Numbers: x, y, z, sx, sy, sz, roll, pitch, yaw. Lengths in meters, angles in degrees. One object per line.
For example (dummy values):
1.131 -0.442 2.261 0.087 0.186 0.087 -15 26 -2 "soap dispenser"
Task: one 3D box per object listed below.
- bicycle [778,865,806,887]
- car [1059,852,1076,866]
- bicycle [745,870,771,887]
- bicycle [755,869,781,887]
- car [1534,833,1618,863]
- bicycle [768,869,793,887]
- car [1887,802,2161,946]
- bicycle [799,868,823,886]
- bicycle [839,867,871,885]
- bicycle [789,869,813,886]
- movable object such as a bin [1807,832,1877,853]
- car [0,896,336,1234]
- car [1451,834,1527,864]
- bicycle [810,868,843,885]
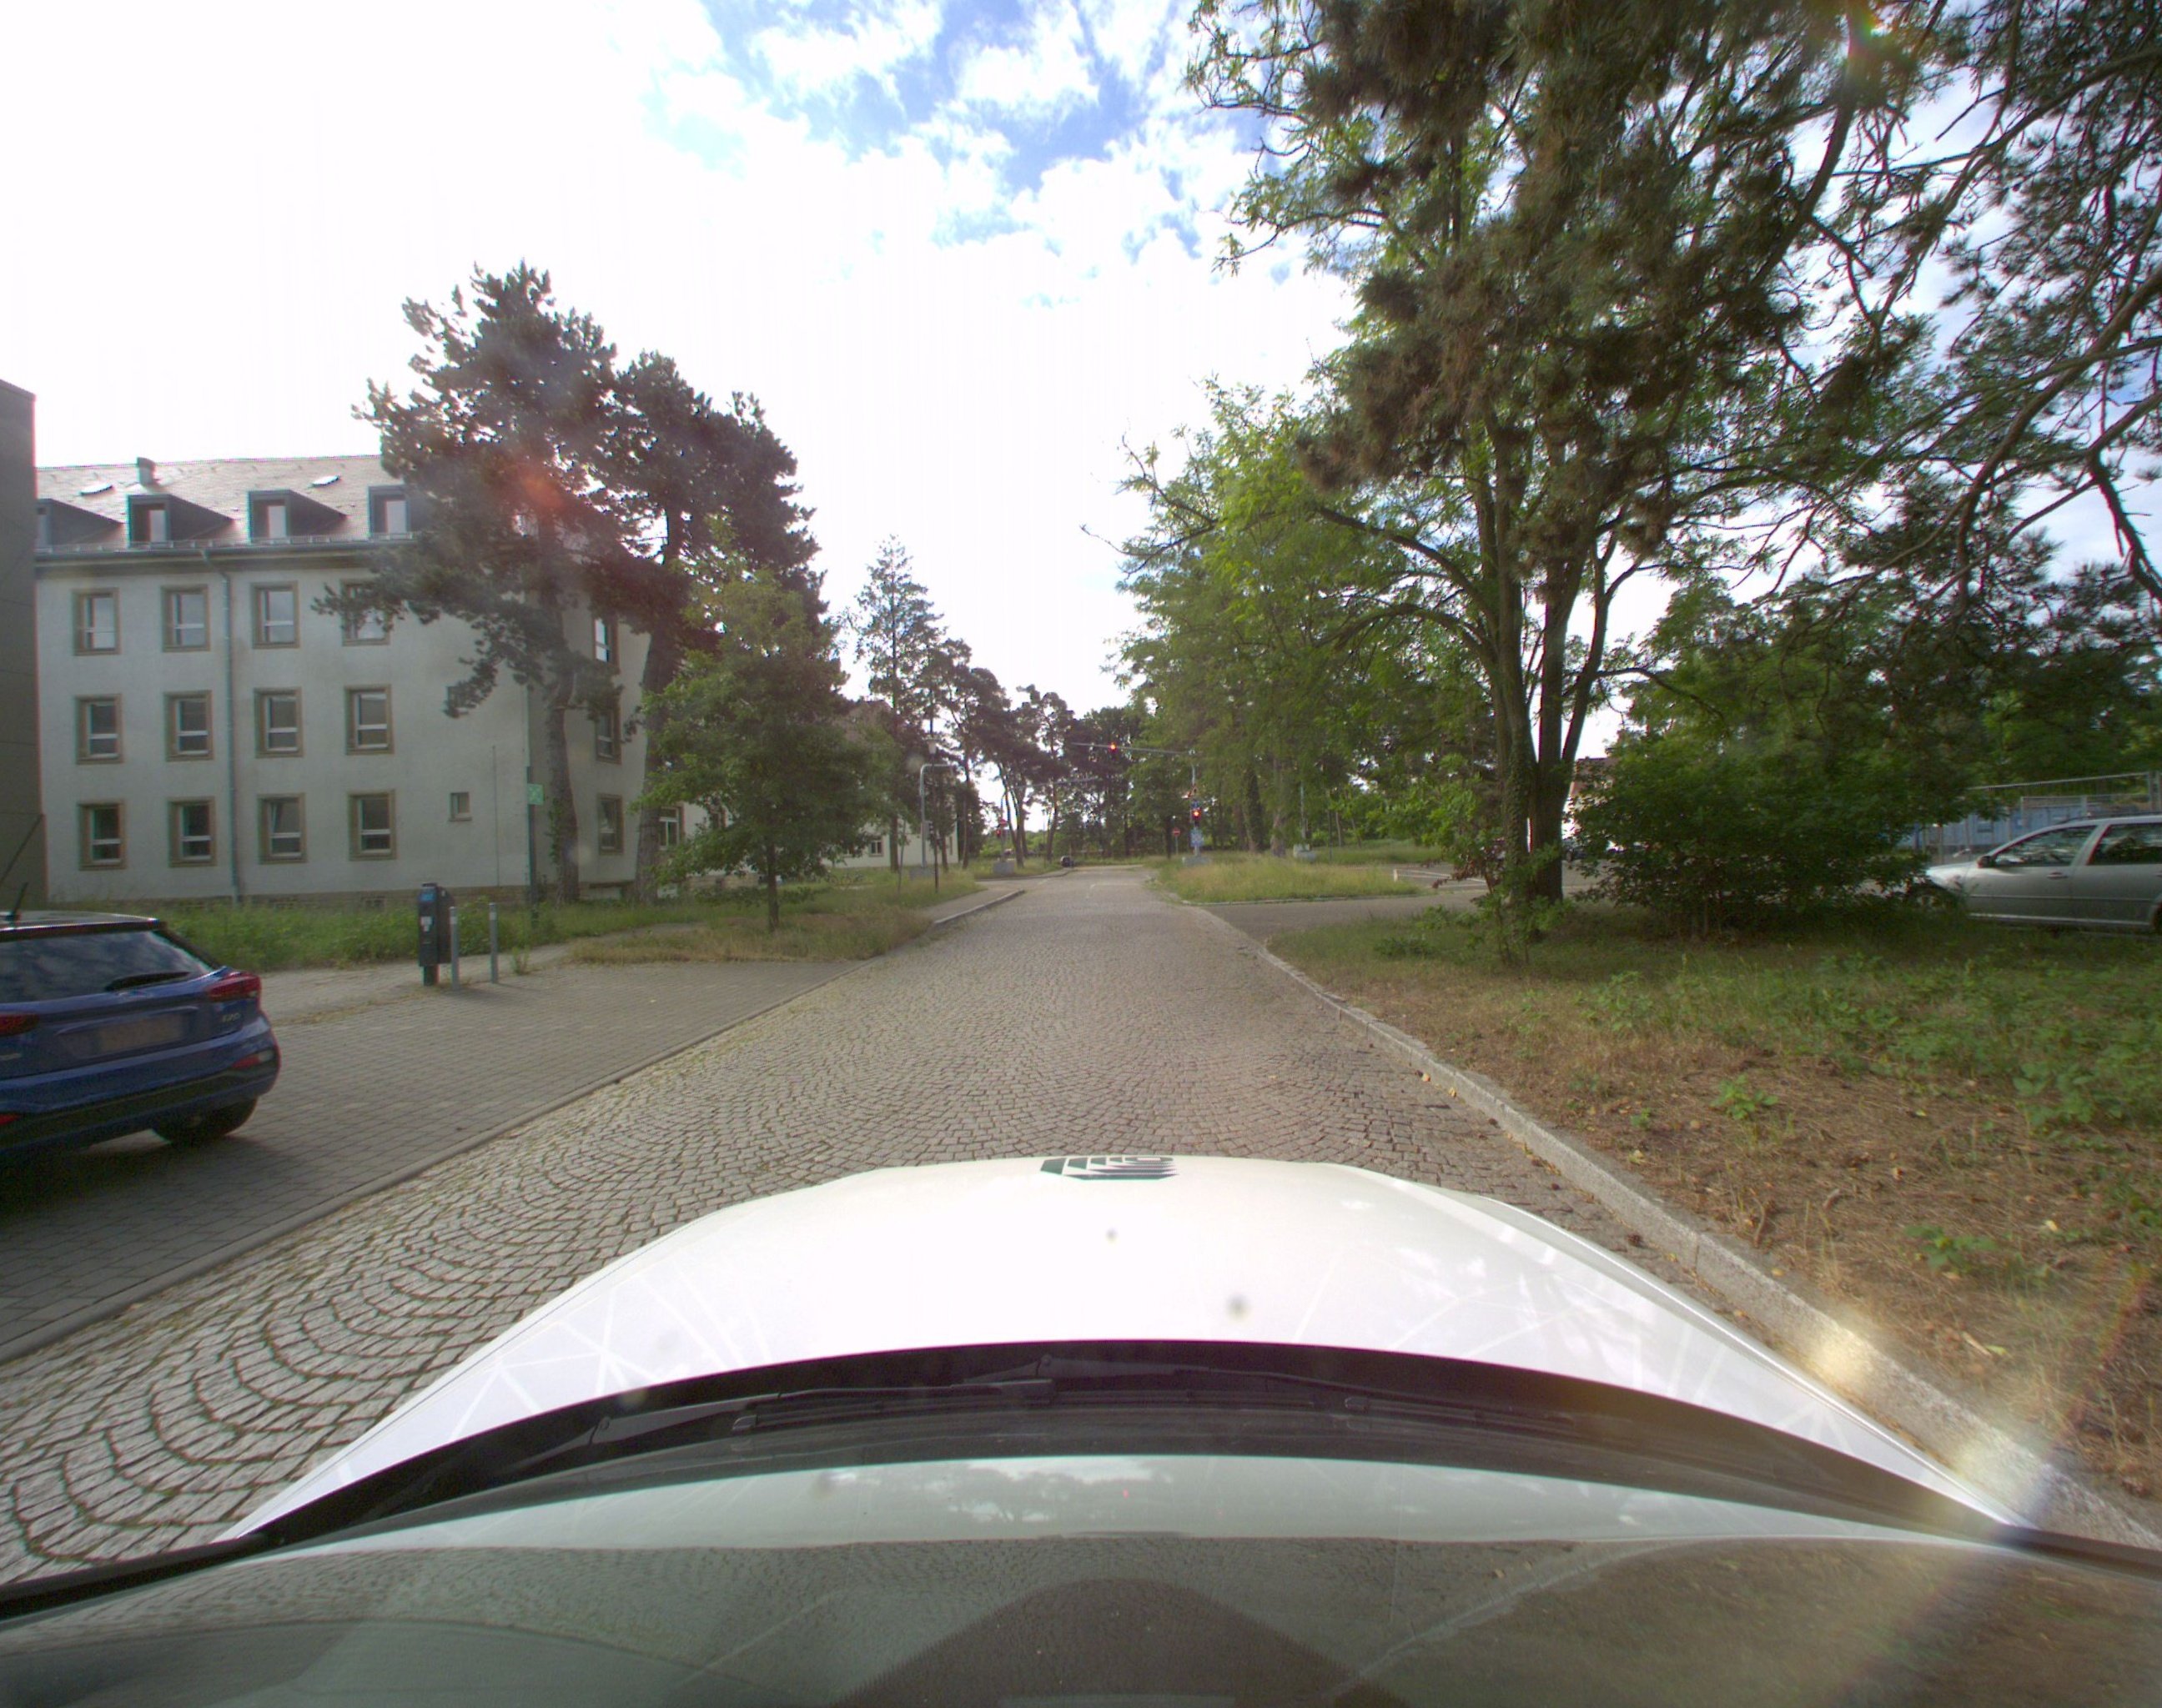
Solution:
-19.499 1.449 54.969 0.733 1.385 2.713 -2 0 2 "bicycle"
-1.796 0.692 110.435 2.048 1.846 4.001 -2 0 1 "car"
-21.679 1.630 54.708 0.733 1.076 2.274 -2 0 2 "bicycle"
-20.951 1.607 54.619 0.733 1.076 2.274 -2 0 2 "bicycle"
28.248 -0.309 46.619 1.988 1.481 4.422 -2 -1 -2 "car"
-20.290 1.609 55.097 0.733 1.076 2.274 -2 0 2 "bicycle"
11.580 0.207 8.860 1.640 1.427 4.073 1 0 1 "car"
-18.122 1.539 54.660 0.733 1.076 2.274 -2 0 2 "bicycle"
-14.801 1.416 53.368 1.848 1.076 0.832 -2 0 3 "bicycle"
-18.765 1.569 54.595 0.733 1.076 2.274 -2 0 2 "bicycle"
31.453 -0.468 33.706 1.179 0.825 1.957 -2 0 6 "movable object such as a bin"
-6.819 1.040 4.521 3.748 1.478 1.854 -1 0 4 "car"
23.063 -0.246 46.269 1.988 1.481 4.422 -2 -1 -2 "car"
-16.684 1.475 53.374 1.848 1.076 0.739 -2 0 3 "bicycle"
